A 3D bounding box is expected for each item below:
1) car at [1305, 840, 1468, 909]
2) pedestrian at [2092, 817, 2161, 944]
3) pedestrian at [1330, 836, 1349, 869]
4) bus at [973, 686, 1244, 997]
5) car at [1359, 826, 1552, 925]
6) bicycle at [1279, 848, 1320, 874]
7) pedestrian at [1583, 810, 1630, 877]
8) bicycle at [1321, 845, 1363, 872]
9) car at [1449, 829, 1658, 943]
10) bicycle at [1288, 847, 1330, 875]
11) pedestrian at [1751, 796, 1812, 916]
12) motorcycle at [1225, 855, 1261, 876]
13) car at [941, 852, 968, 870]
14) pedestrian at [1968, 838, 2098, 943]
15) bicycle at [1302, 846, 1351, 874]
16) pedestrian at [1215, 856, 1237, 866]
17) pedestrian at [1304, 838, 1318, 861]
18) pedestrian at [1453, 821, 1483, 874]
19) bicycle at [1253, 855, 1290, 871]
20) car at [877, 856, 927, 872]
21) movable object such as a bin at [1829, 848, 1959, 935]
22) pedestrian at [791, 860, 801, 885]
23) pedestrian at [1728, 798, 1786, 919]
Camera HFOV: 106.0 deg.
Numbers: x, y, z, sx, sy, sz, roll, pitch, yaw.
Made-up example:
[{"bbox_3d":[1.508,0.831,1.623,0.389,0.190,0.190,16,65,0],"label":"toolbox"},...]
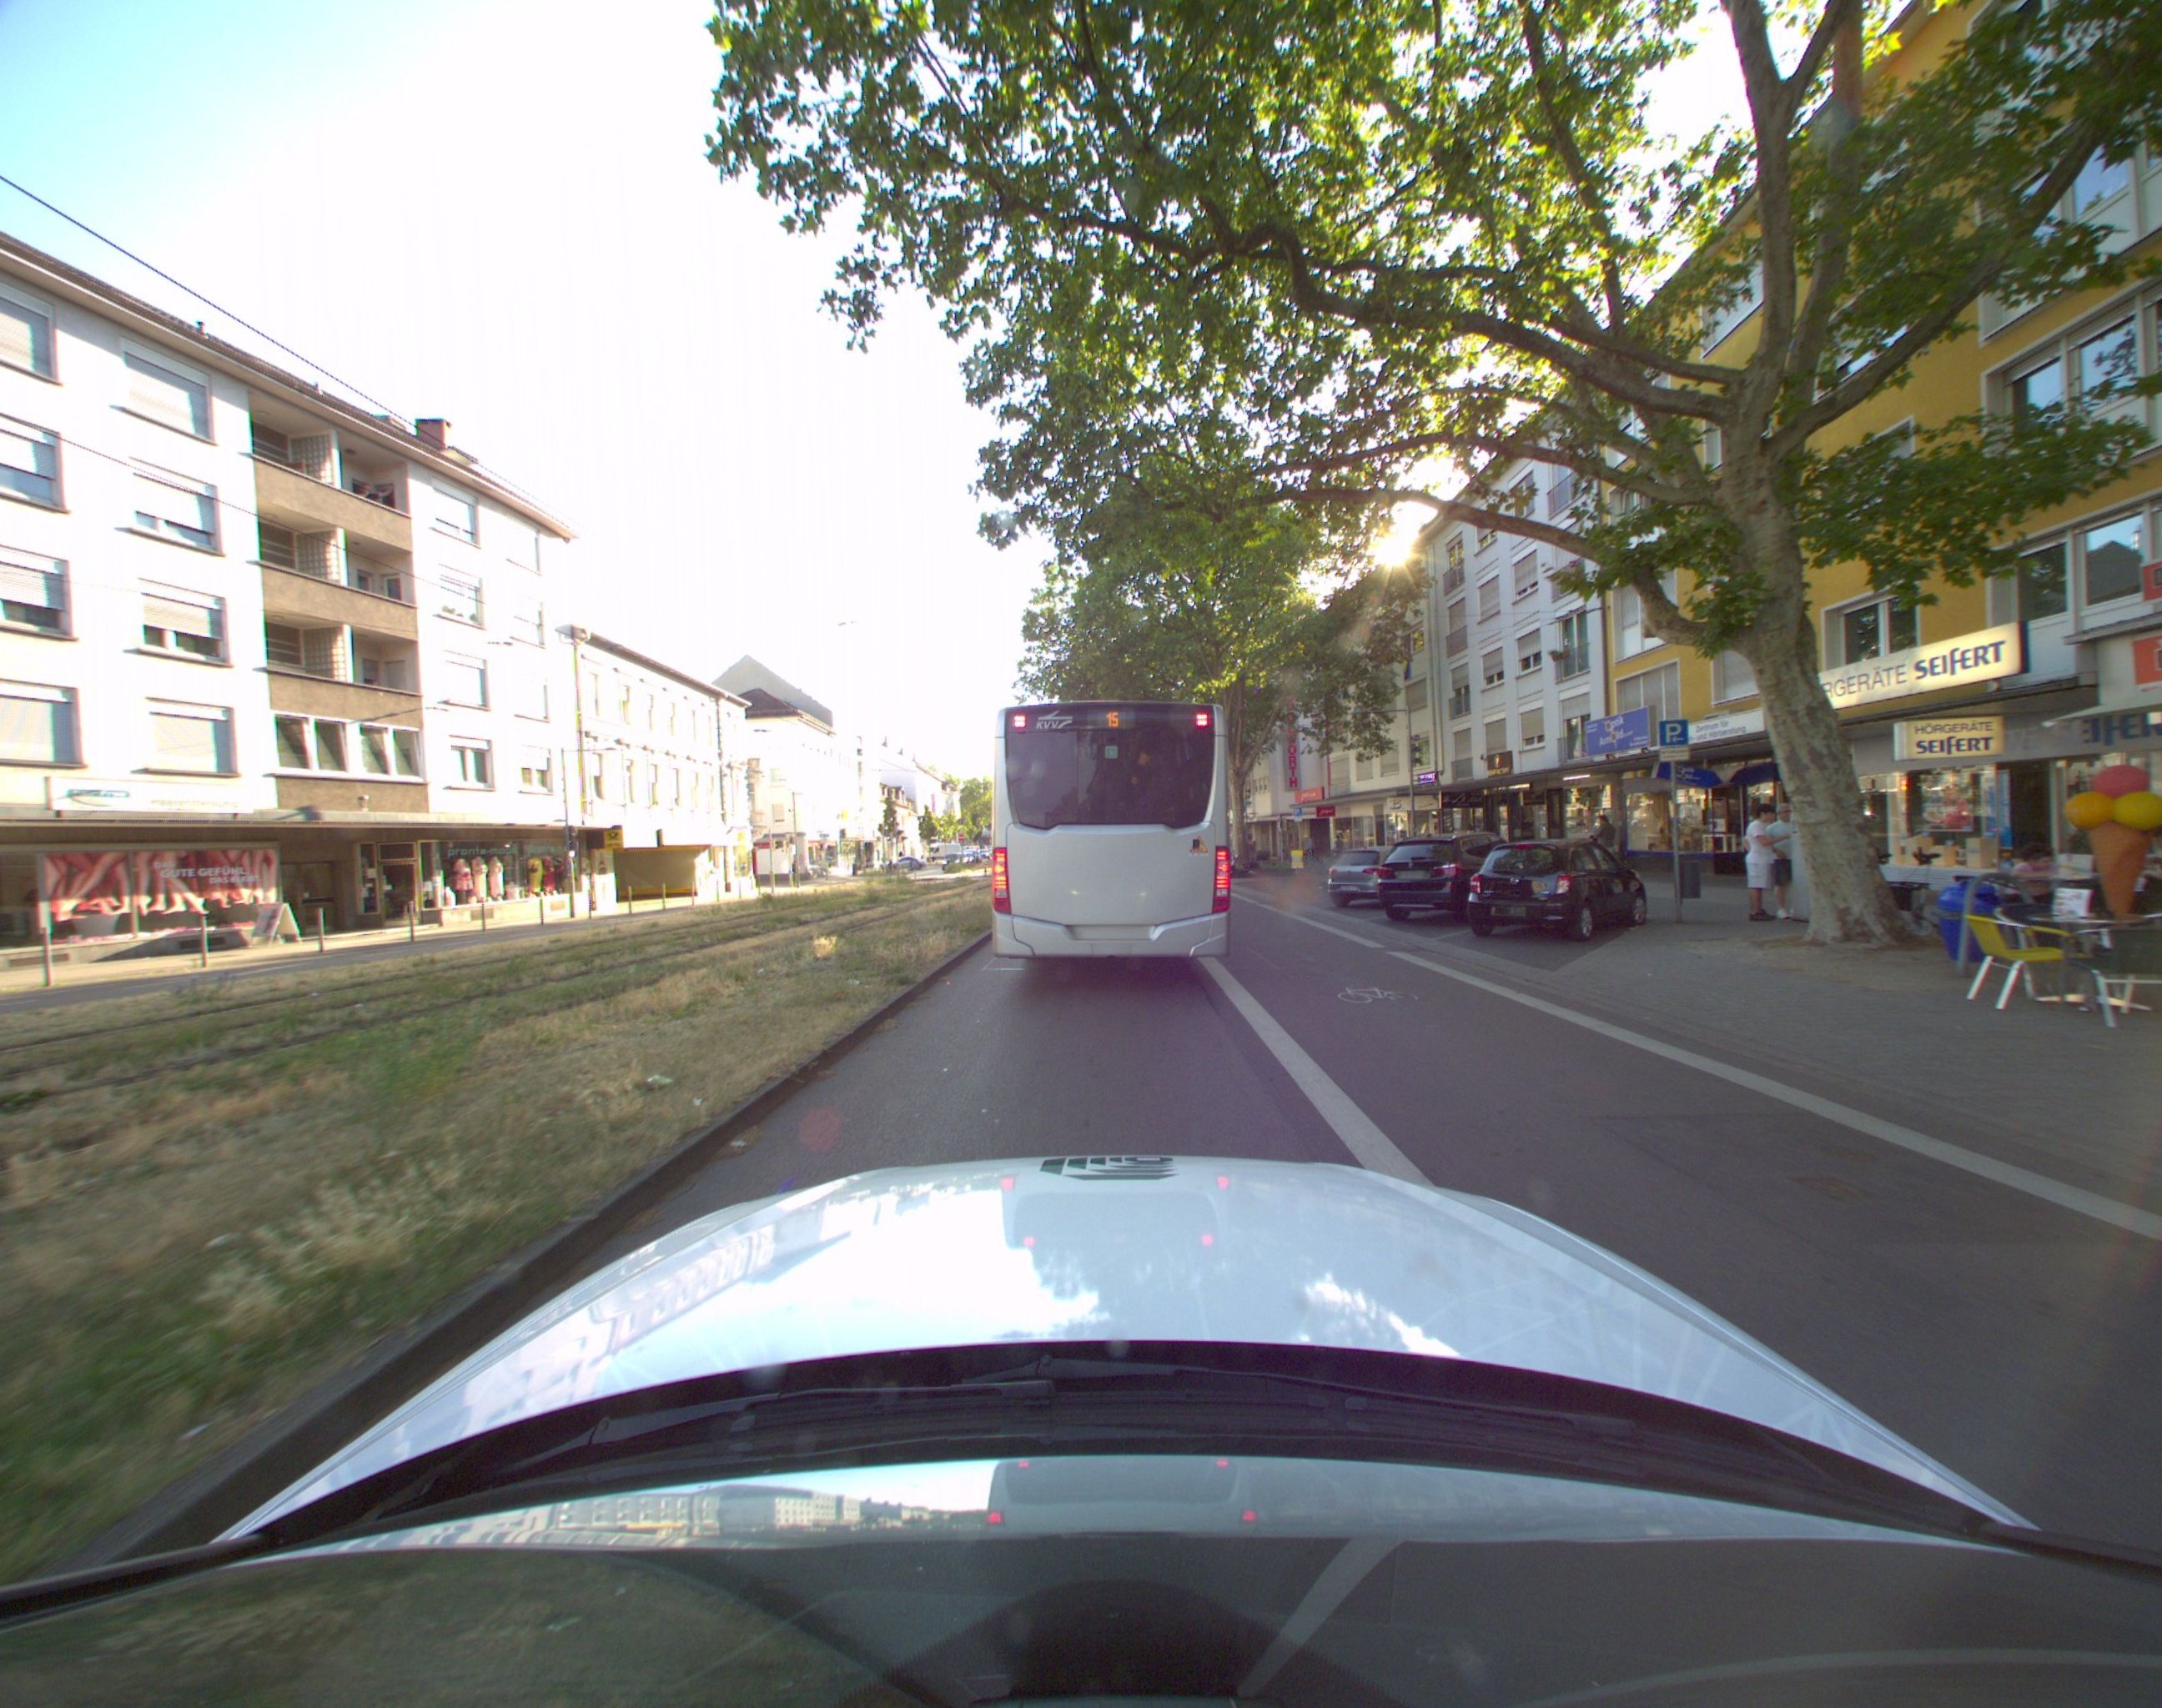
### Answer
[{"bbox_3d":[7.713,0.457,20.430,4.196,1.451,1.790,-3,0,-36],"label":"car"},{"bbox_3d":[11.163,0.265,8.385,0.581,1.275,0.759,-1,0,2],"label":"pedestrian"},{"bbox_3d":[14.474,-0.089,45.607,0.777,1.794,0.764,-2,0,2],"label":"pedestrian"},{"bbox_3d":[0.457,-0.162,11.758,2.667,3.083,7.120,-1,1,3],"label":"bus"},{"bbox_3d":[7.555,0.349,16.276,4.172,1.681,1.789,-3,0,-39],"label":"car"},{"bbox_3d":[11.049,0.352,41.248,1.865,1.189,0.713,-5,0,10],"label":"bicycle"},{"bbox_3d":[14.843,-0.287,23.030,0.703,1.791,0.789,-6,0,7],"label":"pedestrian"},{"bbox_3d":[12.552,0.215,39.198,1.753,1.154,0.680,-4,0,10],"label":"bicycle"},{"bbox_3d":[7.749,0.433,13.247,3.626,1.540,1.721,-3,0,-39],"label":"car"},{"bbox_3d":[11.292,0.355,40.310,1.783,1.189,0.671,-5,0,-7],"label":"bicycle"},{"bbox_3d":[10.946,0.028,12.726,0.517,1.832,0.472,-2,0,-20],"label":"pedestrian"},{"bbox_3d":[7.565,0.526,38.090,1.566,0.892,0.544,-3,0,-2],"label":"motorcycle"},{"bbox_3d":[-11.646,0.607,75.077,1.715,1.509,3.479,-5,0,3],"label":"car"},{"bbox_3d":[10.613,0.390,9.105,0.581,1.115,0.751,-1,0,2],"label":"pedestrian"},{"bbox_3d":[11.701,0.289,38.796,2.070,1.233,0.833,-3,0,6],"label":"bicycle"},{"bbox_3d":[8.745,0.409,49.057,1.250,0.589,0.482,-2,0,0],"label":"pedestrian"},{"bbox_3d":[16.943,-0.351,60.074,0.746,1.679,0.834,-2,2,-4],"label":"pedestrian"},{"bbox_3d":[14.198,-0.231,29.888,0.641,1.876,0.824,-2,0,0],"label":"pedestrian"},{"bbox_3d":[9.986,0.464,42.764,1.864,0.765,0.714,-2,2,10],"label":"bicycle"},{"bbox_3d":[-18.260,1.047,83.105,4.571,1.412,1.979,-3,0,-35],"label":"car"},{"bbox_3d":[10.213,0.447,10.250,0.929,1.023,0.834,-1,0,-19],"label":"movable object such as a bin"},{"bbox_3d":[-20.324,1.307,57.985,0.423,1.713,0.509,-2,0,6],"label":"pedestrian"},{"bbox_3d":[10.521,0.070,12.686,0.520,1.832,0.469,-4,-1,-38],"label":"pedestrian"}]
